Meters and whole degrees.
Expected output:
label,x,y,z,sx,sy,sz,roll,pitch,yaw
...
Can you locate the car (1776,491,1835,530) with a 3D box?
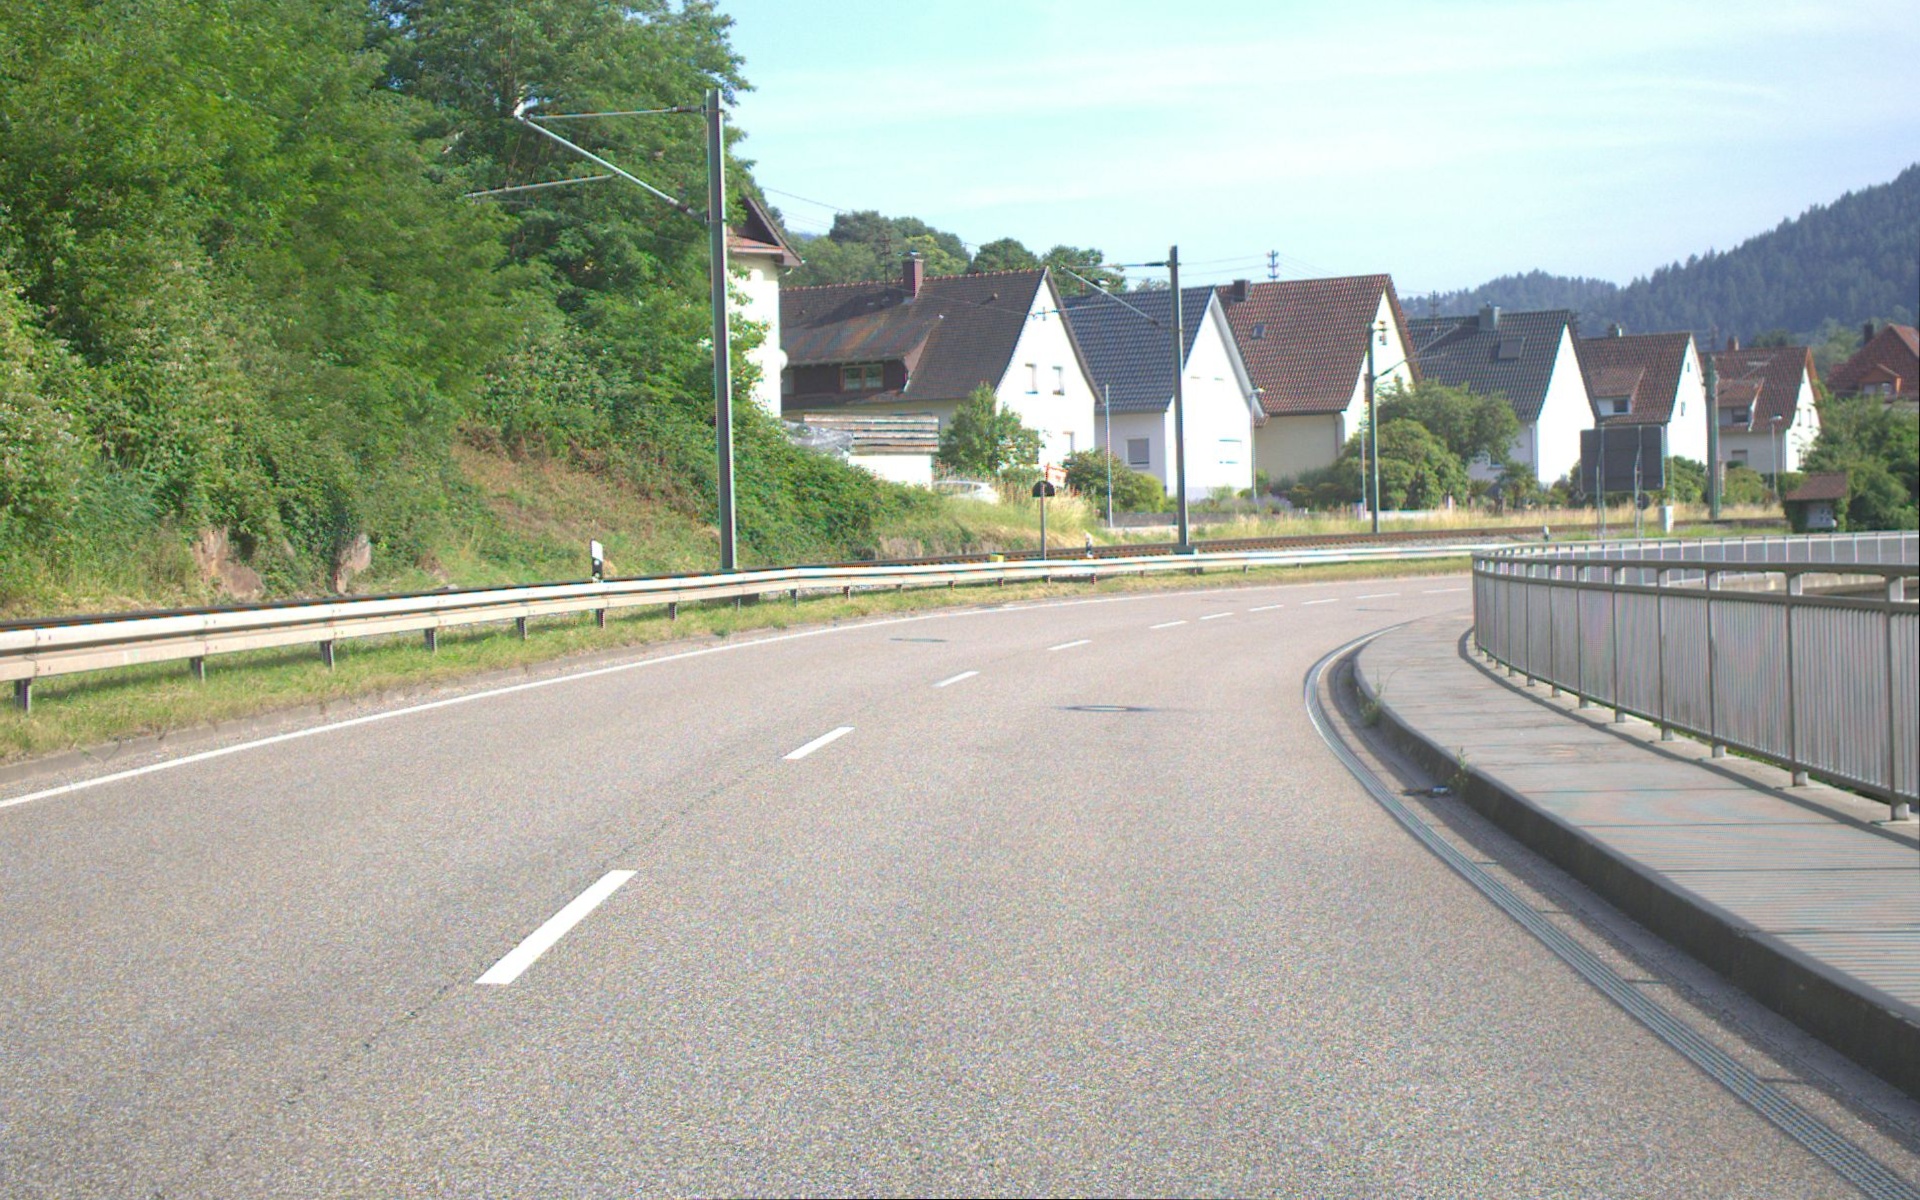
label,x,y,z,sx,sy,sz,roll,pitch,yaw
car,45.729,-4.837,185.920,1.997,1.875,3.994,8,4,28
